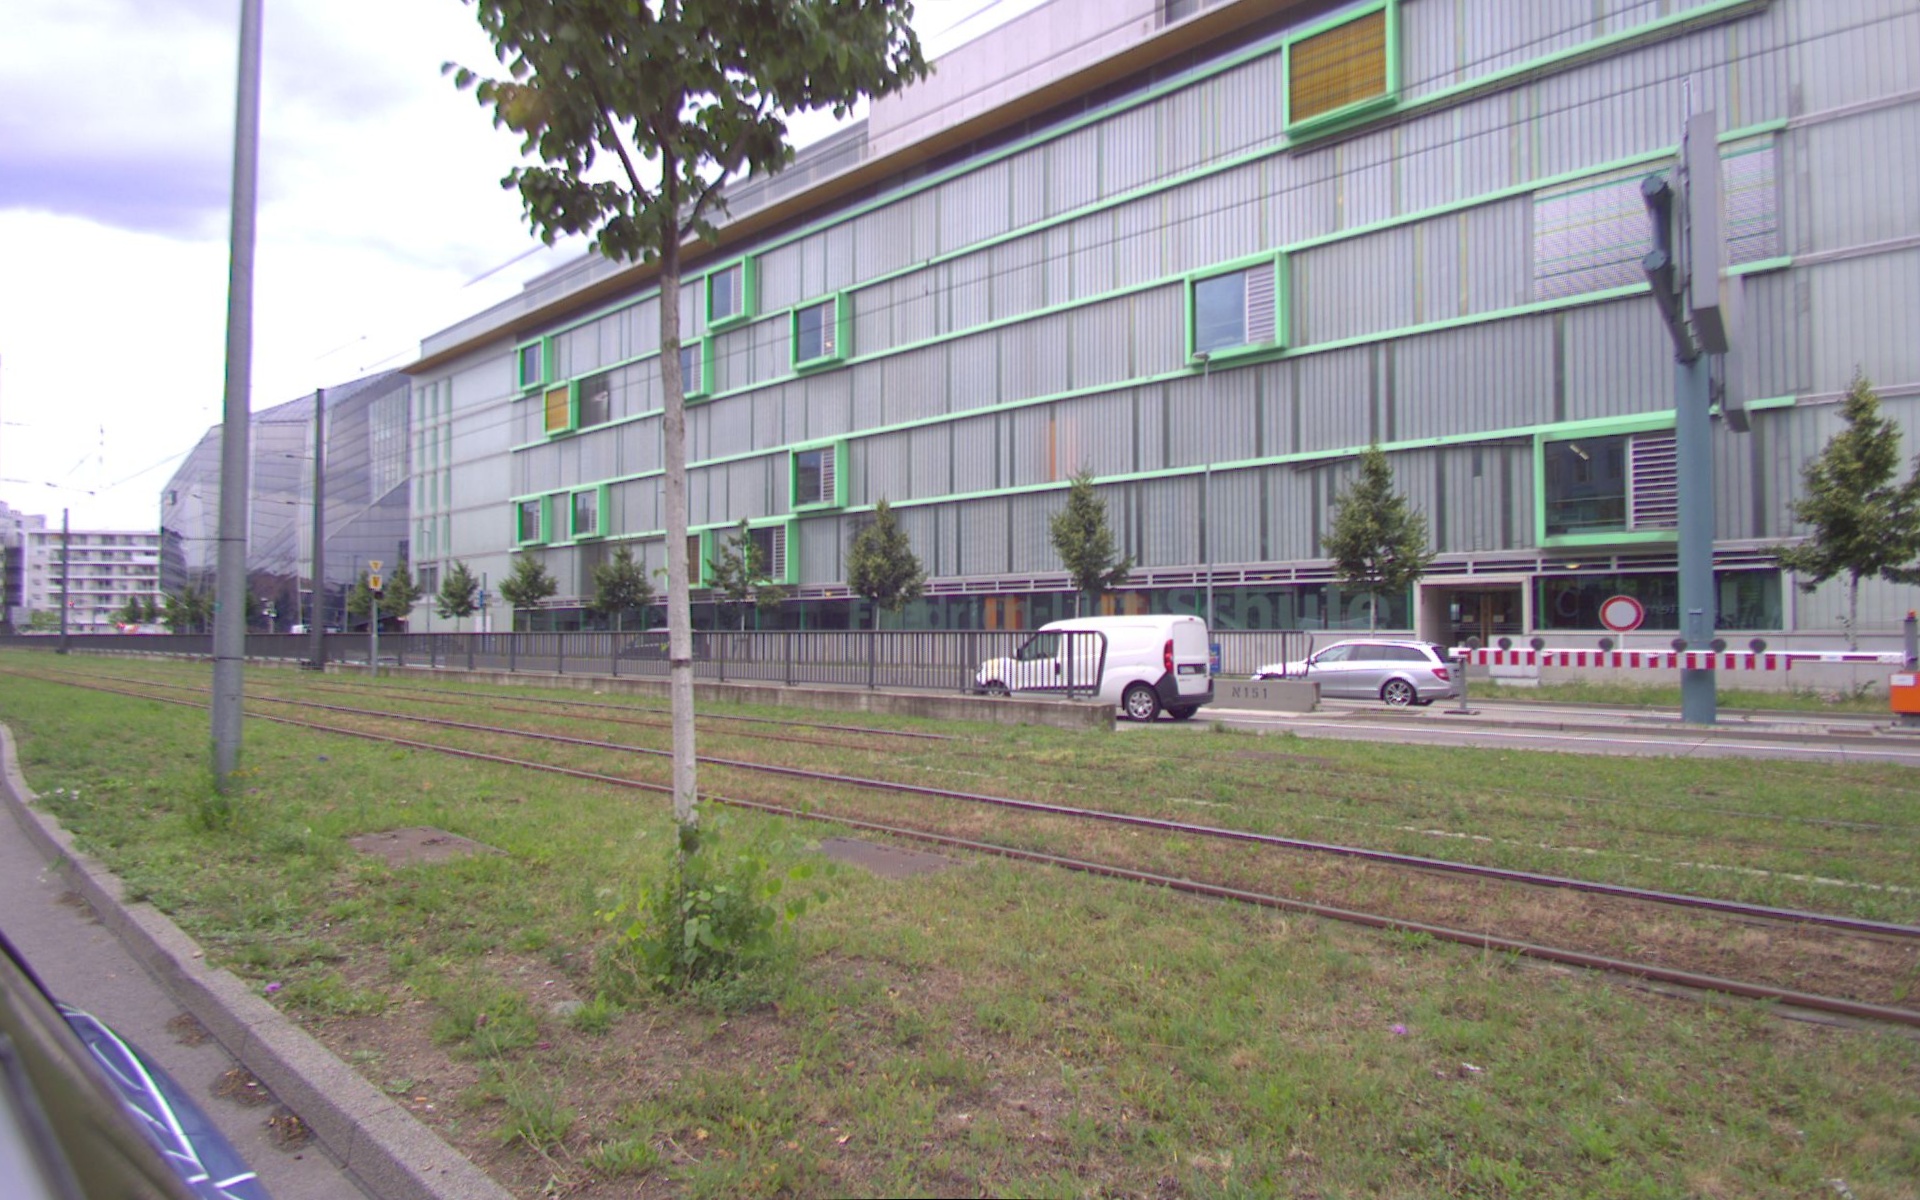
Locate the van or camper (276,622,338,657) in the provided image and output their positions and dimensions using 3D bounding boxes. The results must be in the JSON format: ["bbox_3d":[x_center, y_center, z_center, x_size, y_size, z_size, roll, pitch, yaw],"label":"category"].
[{"bbox_3d":[-44.744,2.678,69.288,5.356,2.304,2.150,-2,-3,41],"label":"van or camper"}]

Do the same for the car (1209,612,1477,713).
[{"bbox_3d":[8.509,1.339,22.828,5.292,2.029,1.972,-2,-2,42],"label":"car"}]

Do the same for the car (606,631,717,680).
[{"bbox_3d":[-12.029,2.190,40.603,4.965,1.837,1.972,-2,-2,42],"label":"car"}]

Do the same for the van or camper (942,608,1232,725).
[{"bbox_3d":[2.261,1.183,18.878,5.115,1.915,1.871,-1,-3,37],"label":"van or camper"}]

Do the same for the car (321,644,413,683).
[{"bbox_3d":[-23.998,2.522,40.907,4.568,1.490,1.744,-2,-3,40],"label":"car"}]

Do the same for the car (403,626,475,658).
[{"bbox_3d":[-28.993,2.327,56.244,4.645,1.679,1.972,-2,-3,42],"label":"car"}]

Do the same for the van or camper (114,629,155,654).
[{"bbox_3d":[-81.794,4.114,100.250,6.503,2.304,2.150,-2,-2,42],"label":"van or camper"}]
